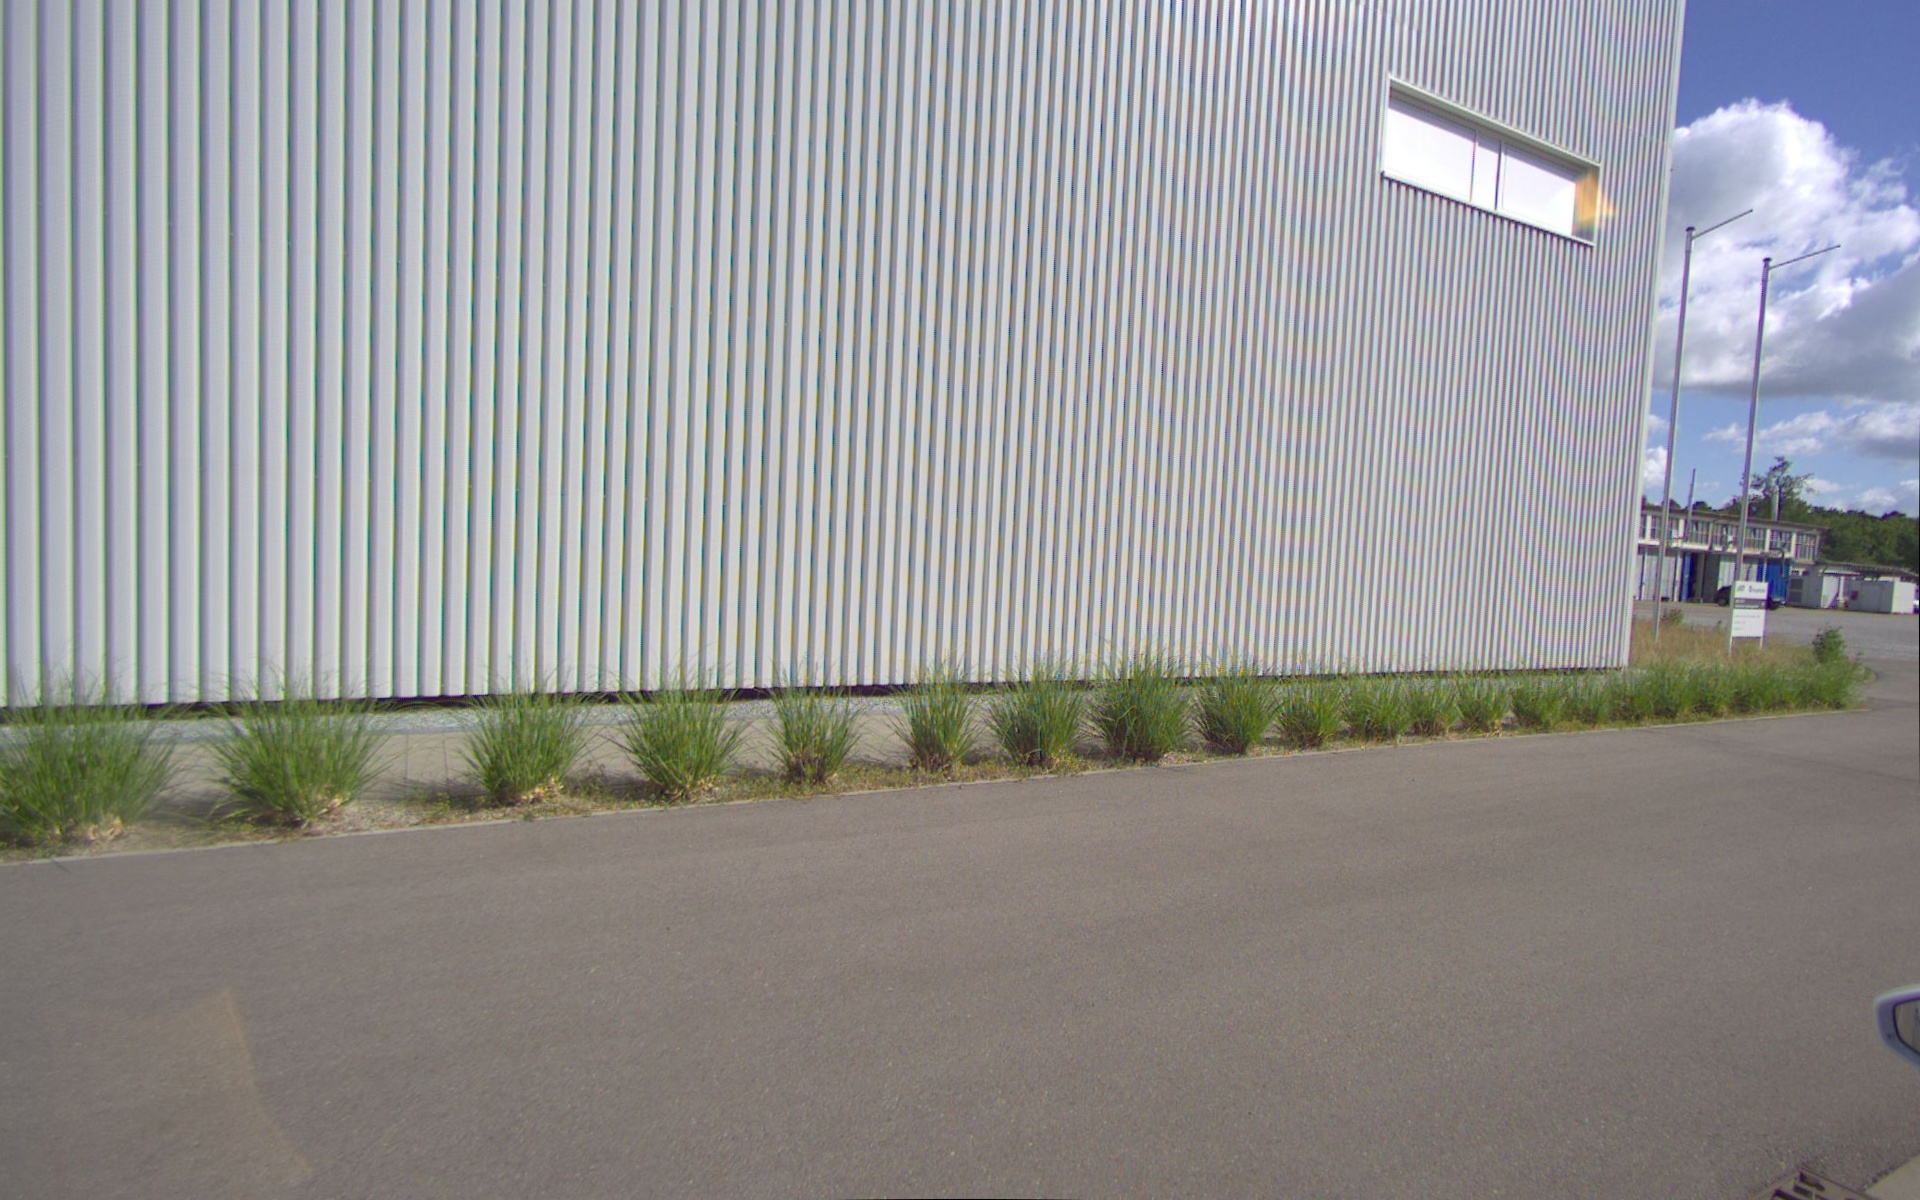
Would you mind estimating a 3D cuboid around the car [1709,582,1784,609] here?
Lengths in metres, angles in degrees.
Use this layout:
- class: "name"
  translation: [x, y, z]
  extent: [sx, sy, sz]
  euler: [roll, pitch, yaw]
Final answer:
- class: "car"
  translation: [59.212, -0.361, 75.684]
  extent: [1.980, 1.810, 3.961]
  euler: [1, 3, -34]

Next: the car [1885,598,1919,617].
- class: "car"
  translation: [87.925, 0.717, 92.224]
  extent: [1.977, 1.632, 3.966]
  euler: [1, 3, -30]

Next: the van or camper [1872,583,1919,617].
- class: "van or camper"
  translation: [90.232, 0.067, 94.736]
  extent: [2.445, 2.968, 5.684]
  euler: [1, 3, -31]
